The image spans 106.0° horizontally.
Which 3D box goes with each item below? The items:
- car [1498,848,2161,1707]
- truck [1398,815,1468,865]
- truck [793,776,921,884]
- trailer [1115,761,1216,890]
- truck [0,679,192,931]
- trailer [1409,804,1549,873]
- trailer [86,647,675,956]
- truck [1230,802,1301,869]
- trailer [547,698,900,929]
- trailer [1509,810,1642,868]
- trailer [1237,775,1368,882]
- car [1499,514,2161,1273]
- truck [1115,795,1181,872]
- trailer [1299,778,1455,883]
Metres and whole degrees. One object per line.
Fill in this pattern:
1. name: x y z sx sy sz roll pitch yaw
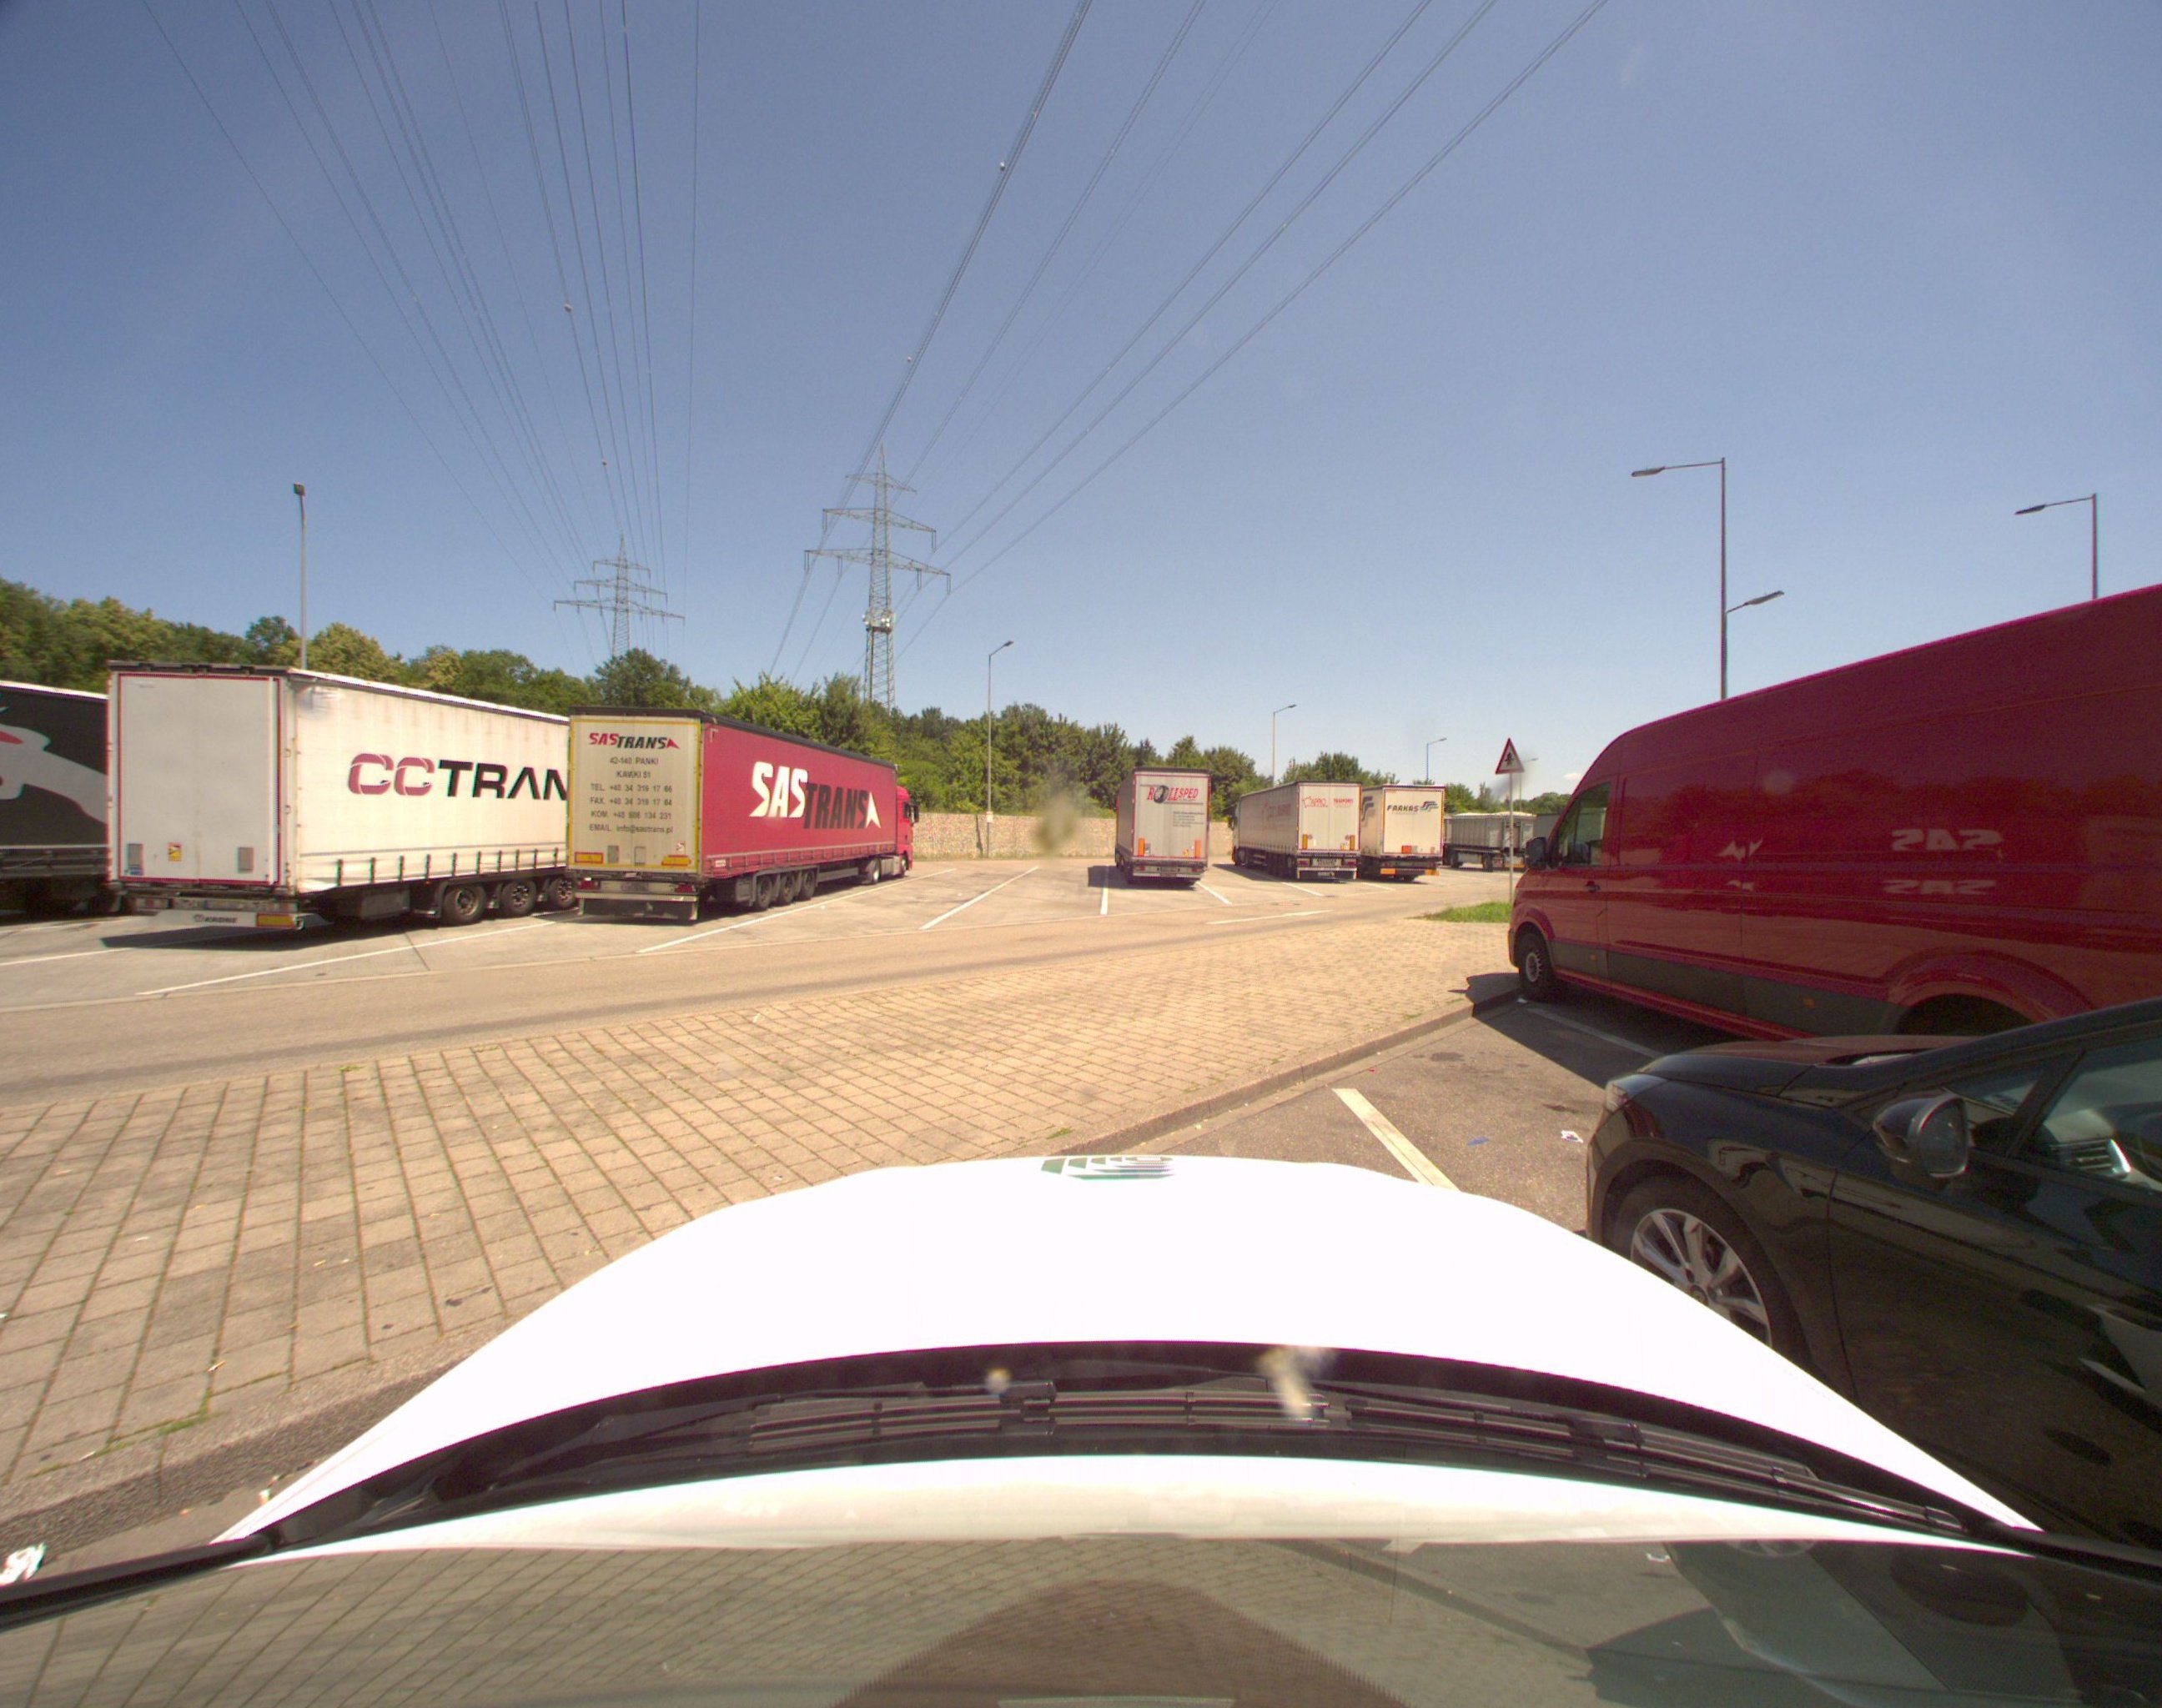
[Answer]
1. car: 2.523 0.756 1.178 1.733 1.482 3.813 -1 1 -3
2. truck: 24.923 -1.028 57.950 2.840 3.364 5.488 1 2 3
3. truck: -7.796 -0.857 29.091 2.841 3.427 5.486 1 1 2
4. trailer: 3.029 -1.120 33.294 2.896 4.132 13.727 1 2 1
5. truck: -18.575 -0.820 13.560 2.692 4.016 4.326 1 2 2
6. trailer: 24.535 -1.016 51.452 2.826 3.717 13.737 1 2 3
7. trailer: -12.199 -0.906 16.325 2.718 4.209 10.176 1 2 2
8. truck: 10.167 -1.049 45.432 2.841 3.483 5.486 1 1 2
9. trailer: -8.034 -0.971 21.654 2.896 4.131 13.731 1 2 2
10. trailer: 38.377 -1.251 64.137 2.826 4.049 13.737 1 2 3
11. trailer: 9.959 -1.170 38.621 2.828 4.132 13.730 1 2 2
12. car: 5.166 0.088 5.488 2.055 2.695 6.405 -1 1 6
13. truck: 3.172 -1.010 39.907 2.841 3.483 5.486 1 1 2
14. trailer: 13.615 -1.135 39.285 2.828 4.132 13.730 1 2 2
